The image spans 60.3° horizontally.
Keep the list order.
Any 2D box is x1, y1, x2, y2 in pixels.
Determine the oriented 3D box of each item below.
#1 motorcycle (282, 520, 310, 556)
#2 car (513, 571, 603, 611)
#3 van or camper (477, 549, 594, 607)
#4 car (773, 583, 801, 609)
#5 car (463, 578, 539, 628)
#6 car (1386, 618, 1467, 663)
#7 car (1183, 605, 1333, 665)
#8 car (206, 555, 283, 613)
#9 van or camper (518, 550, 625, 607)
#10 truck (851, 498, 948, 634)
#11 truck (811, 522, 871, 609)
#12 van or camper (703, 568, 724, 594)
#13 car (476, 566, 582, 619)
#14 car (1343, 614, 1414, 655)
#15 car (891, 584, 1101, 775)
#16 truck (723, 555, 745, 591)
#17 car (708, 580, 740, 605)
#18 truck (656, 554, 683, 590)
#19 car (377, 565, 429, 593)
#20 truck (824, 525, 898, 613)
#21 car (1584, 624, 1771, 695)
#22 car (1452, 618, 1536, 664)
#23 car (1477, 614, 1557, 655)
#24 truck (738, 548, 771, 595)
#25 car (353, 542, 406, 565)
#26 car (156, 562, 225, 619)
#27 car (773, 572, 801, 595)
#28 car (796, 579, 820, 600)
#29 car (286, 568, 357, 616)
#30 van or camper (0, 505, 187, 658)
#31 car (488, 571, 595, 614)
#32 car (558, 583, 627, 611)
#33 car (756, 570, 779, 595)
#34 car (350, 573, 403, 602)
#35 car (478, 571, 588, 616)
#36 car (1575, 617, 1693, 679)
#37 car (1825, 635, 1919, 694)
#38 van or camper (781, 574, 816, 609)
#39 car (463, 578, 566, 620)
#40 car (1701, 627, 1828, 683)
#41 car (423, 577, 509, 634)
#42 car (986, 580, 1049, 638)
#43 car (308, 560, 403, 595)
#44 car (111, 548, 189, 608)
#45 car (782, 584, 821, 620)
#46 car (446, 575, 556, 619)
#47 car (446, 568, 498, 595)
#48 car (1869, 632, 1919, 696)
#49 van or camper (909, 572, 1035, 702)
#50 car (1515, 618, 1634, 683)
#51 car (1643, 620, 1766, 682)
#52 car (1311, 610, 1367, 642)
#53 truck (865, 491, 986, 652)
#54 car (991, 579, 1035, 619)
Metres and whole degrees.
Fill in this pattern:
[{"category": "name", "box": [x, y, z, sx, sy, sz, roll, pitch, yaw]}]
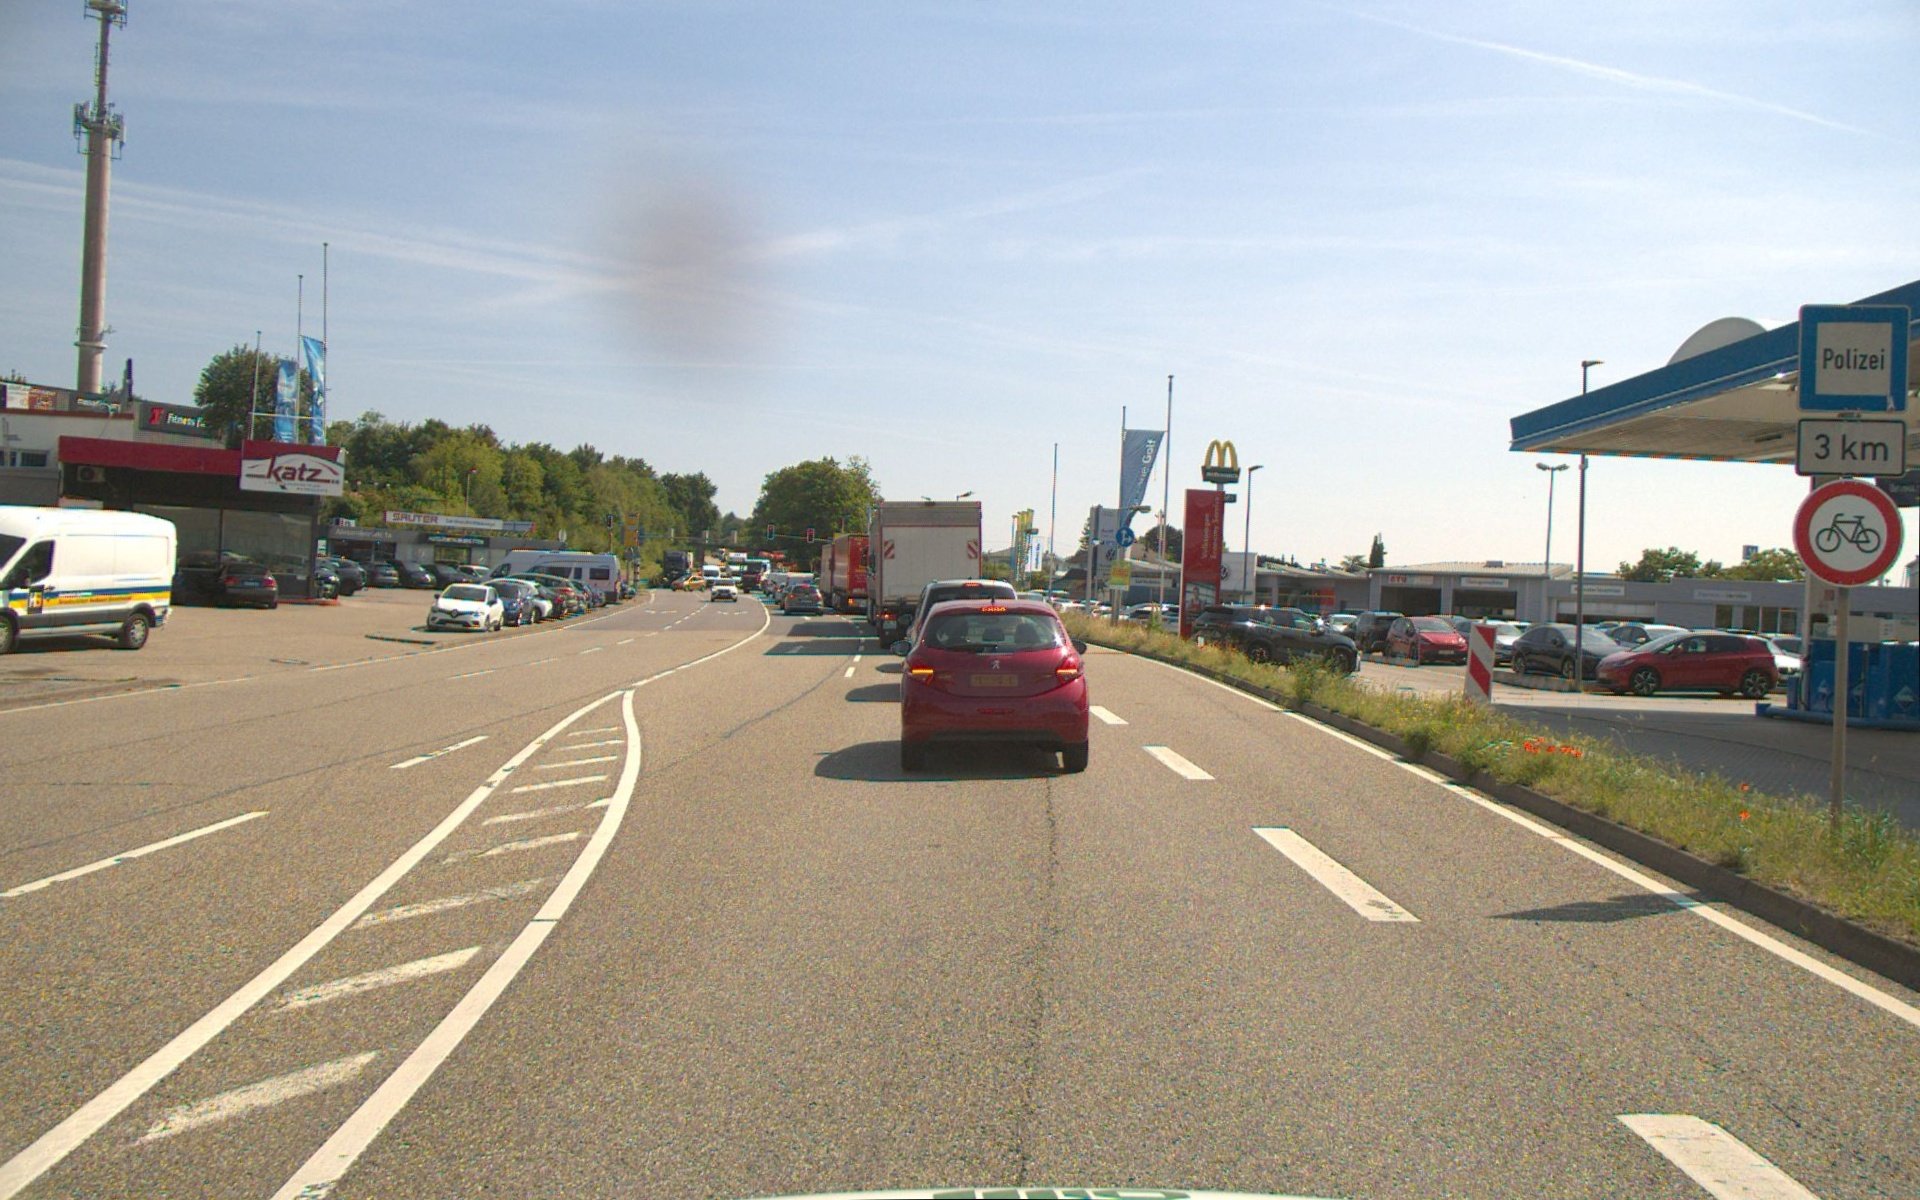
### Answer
[{"category": "motorcycle", "box": [-24.831, -2.319, 61.833, 0.761, 1.283, 2.037, 1, 0, -27]}, {"category": "car", "box": [-18.706, -0.420, 77.082, 3.774, 1.510, 1.798, 5, 0, -9]}, {"category": "van or camper", "box": [-22.853, -1.188, 89.290, 5.780, 2.923, 2.286, 2, 1, -7]}, {"category": "car", "box": [-10.975, -0.243, 104.732, 1.694, 1.545, 3.307, 2, 0, -6]}, {"category": "car", "box": [-16.087, 0.093, 58.134, 1.745, 1.519, 3.778, 6, 0, -5]}, {"category": "car", "box": [15.963, 1.356, 56.751, 1.527, 1.434, 3.593, 0, 0, -4]}, {"category": "car", "box": [7.491, 0.847, 41.577, 3.543, 1.434, 1.549, 0, 0, -28]}, {"category": "car", "box": [-23.102, -0.534, 53.326, 1.833, 1.530, 4.356, 4, 1, -29]}, {"category": "van or camper", "box": [-20.397, -1.135, 87.062, 5.144, 2.779, 2.208, 2, 0, -6]}, {"category": "truck", "box": [-2.511, -1.201, 62.221, 2.833, 4.340, 16.694, 1, 1, -5]}, {"category": "truck", "box": [-8.204, -2.256, 111.576, 3.004, 5.311, 16.981, 2, 1, -7]}, {"category": "van or camper", "box": [-26.211, -2.044, 176.080, 2.132, 2.595, 4.163, 2, 1, -8]}, {"category": "car", "box": [-17.293, -0.322, 66.474, 3.815, 1.746, 1.803, 5, 0, -9]}, {"category": "car", "box": [15.604, 1.256, 61.775, 1.527, 1.434, 3.593, 0, 0, -4]}, {"category": "car", "box": [0.280, 0.658, 15.753, 1.764, 1.599, 3.713, 0, 0, -1]}, {"category": "truck", "box": [-27.573, -3.281, 201.976, 2.504, 4.382, 7.584, 0, 1, -7]}, {"category": "car", "box": [-16.248, -0.524, 114.111, 1.897, 1.703, 3.997, 0, 0, -4]}, {"category": "truck", "box": [-31.217, -3.010, 177.768, 2.762, 3.852, 6.971, 0, 1, -11]}, {"category": "car", "box": [-33.568, -1.261, 99.681, 1.752, 1.616, 3.774, 1, 1, -40]}, {"category": "truck", "box": [-5.624, -1.675, 90.909, 2.901, 4.344, 16.559, 2, 1, -7]}, {"category": "car", "box": [17.739, 1.459, 41.010, 3.823, 1.599, 1.807, 1, 0, 0]}, {"category": "car", "box": [18.285, 1.382, 56.786, 1.527, 1.434, 3.593, 0, 0, -4]}, {"category": "car", "box": [20.690, 1.272, 61.566, 1.527, 1.434, 3.686, 0, 0, -4]}, {"category": "truck", "box": [-19.774, -2.744, 159.365, 2.899, 4.282, 10.634, 0, 1, -6]}, {"category": "car", "box": [-38.370, -3.083, 109.322, 3.683, 1.476, 1.726, 2, 0, 42]}, {"category": "car", "box": [-27.120, -0.345, 58.218, 1.682, 1.789, 3.722, 5, -1, -31]}, {"category": "car", "box": [-11.991, -1.141, 114.865, 1.692, 1.545, 3.311, 2, 0, -2]}, {"category": "car", "box": [-12.281, -0.843, 133.549, 1.694, 1.545, 3.306, 2, 0, -8]}, {"category": "car", "box": [-25.681, -0.315, 66.426, 1.804, 1.703, 4.083, 8, -4, -31]}, {"category": "van or camper", "box": [-16.895, -0.393, 30.011, 2.109, 2.542, 5.955, 5, 1, 8]}, {"category": "car", "box": [-18.695, -0.343, 74.120, 4.377, 1.510, 1.768, 5, 0, -9]}, {"category": "car", "box": [-21.537, -0.162, 96.981, 3.745, 1.566, 1.839, 1, 1, -8]}, {"category": "car", "box": [-15.934, -1.436, 137.296, 1.693, 1.942, 3.309, 2, 0, -4]}, {"category": "car", "box": [-34.580, -0.734, 97.902, 1.752, 1.616, 3.774, 1, 1, -40]}, {"category": "car", "box": [-17.886, -0.285, 69.453, 4.199, 1.510, 1.832, 5, 0, -9]}, {"category": "car", "box": [18.921, 1.308, 46.573, 1.527, 1.622, 3.857, 0, 0, -4]}, {"category": "car", "box": [25.306, 1.709, 44.943, 1.527, 1.434, 3.593, 0, 0, -4]}, {"category": "van or camper", "box": [-9.488, -0.524, 97.031, 1.818, 1.939, 3.778, 2, 1, -8]}, {"category": "car", "box": [-17.164, -0.055, 63.812, 3.639, 1.552, 1.789, 1, 1, -9]}, {"category": "car", "box": [23.049, 1.547, 47.551, 1.582, 1.468, 3.857, 0, 0, -4]}, {"category": "car", "box": [-15.359, 0.151, 51.641, 1.744, 1.646, 3.996, 2, 0, -5]}, {"category": "car", "box": [1.882, 0.299, 54.518, 1.952, 1.780, 4.000, 2, 0, 1]}, {"category": "car", "box": [-28.144, -1.053, 77.033, 3.896, 1.559, 1.751, 1, 1, -31]}, {"category": "car", "box": [-25.336, -0.710, 51.690, 1.834, 1.530, 3.962, 6, 1, -30]}, {"category": "car", "box": [-7.526, 0.083, 78.773, 1.755, 1.667, 3.501, 1, 0, -4]}, {"category": "car", "box": [-17.080, -0.127, 61.654, 3.725, 1.552, 1.843, 1, 1, -9]}, {"category": "car", "box": [-30.608, -1.145, 103.708, 1.752, 1.616, 3.774, 1, 1, -40]}, {"category": "car", "box": [25.273, 1.652, 41.375, 4.243, 1.520, 1.562, 2, 0, -4]}, {"category": "van or camper", "box": [0.092, 0.523, 26.411, 1.712, 1.818, 5.131, 2, 0, -2]}, {"category": "car", "box": [16.673, 1.331, 45.051, 1.582, 1.622, 3.857, 0, 0, -4]}, {"category": "car", "box": [21.282, 1.435, 47.439, 1.582, 1.622, 3.857, 0, 0, -4]}, {"category": "car", "box": [17.514, 1.180, 76.534, 1.527, 1.434, 3.593, 0, 0, -4]}, {"category": "truck", "box": [-1.154, -0.753, 46.170, 2.822, 3.877, 11.134, 1, 1, -4]}, {"category": "car", "box": [2.454, -0.052, 77.694, 1.952, 1.780, 4.000, 2, 0, 1]}]
